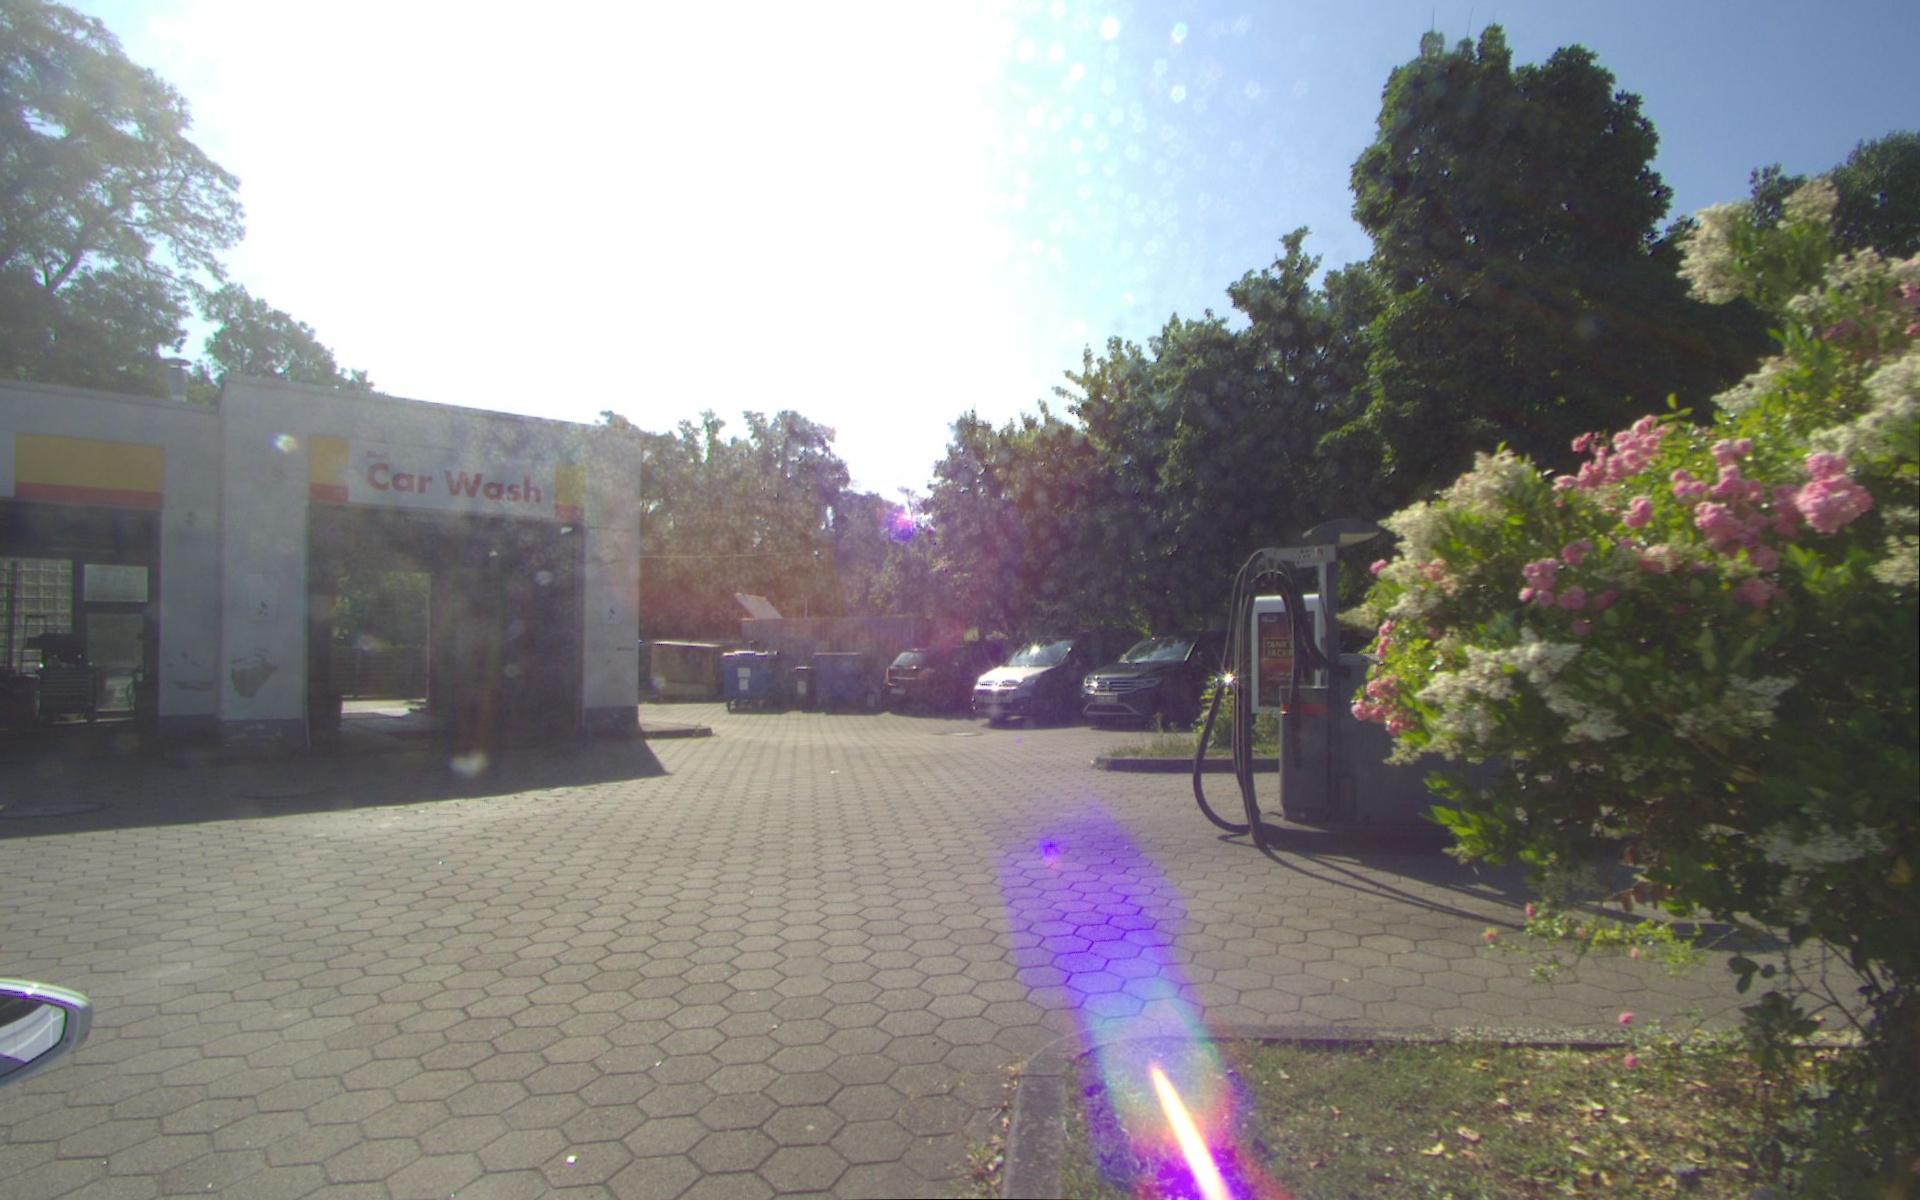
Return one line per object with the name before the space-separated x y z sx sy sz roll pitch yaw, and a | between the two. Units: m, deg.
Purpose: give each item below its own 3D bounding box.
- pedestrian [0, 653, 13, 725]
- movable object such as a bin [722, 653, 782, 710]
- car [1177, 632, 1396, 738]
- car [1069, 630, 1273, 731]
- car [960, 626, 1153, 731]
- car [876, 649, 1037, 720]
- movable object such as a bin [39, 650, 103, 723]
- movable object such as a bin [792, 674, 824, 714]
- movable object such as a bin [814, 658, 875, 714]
pedestrian | -16.610 1.515 16.898 0.856 1.212 0.737 1 -5 -40
movable object such as a bin | -4.969 1.945 23.969 1.211 1.341 0.850 -1 -2 4
car | 5.413 1.320 16.378 3.899 1.530 1.669 2 -4 -42
car | 3.927 1.426 18.359 3.899 1.648 1.670 2 -4 -42
car | 2.037 1.522 20.434 3.897 1.816 1.669 -1 -1 -42
car | -0.049 1.903 23.325 3.470 1.457 1.671 2 -2 -39
movable object such as a bin | -15.885 1.539 17.908 0.790 1.251 0.541 1 -4 -38
movable object such as a bin | -3.618 2.240 23.897 0.484 0.921 0.866 -1 -3 12
movable object such as a bin | -2.725 2.021 23.711 1.212 1.305 0.866 -1 -2 13
